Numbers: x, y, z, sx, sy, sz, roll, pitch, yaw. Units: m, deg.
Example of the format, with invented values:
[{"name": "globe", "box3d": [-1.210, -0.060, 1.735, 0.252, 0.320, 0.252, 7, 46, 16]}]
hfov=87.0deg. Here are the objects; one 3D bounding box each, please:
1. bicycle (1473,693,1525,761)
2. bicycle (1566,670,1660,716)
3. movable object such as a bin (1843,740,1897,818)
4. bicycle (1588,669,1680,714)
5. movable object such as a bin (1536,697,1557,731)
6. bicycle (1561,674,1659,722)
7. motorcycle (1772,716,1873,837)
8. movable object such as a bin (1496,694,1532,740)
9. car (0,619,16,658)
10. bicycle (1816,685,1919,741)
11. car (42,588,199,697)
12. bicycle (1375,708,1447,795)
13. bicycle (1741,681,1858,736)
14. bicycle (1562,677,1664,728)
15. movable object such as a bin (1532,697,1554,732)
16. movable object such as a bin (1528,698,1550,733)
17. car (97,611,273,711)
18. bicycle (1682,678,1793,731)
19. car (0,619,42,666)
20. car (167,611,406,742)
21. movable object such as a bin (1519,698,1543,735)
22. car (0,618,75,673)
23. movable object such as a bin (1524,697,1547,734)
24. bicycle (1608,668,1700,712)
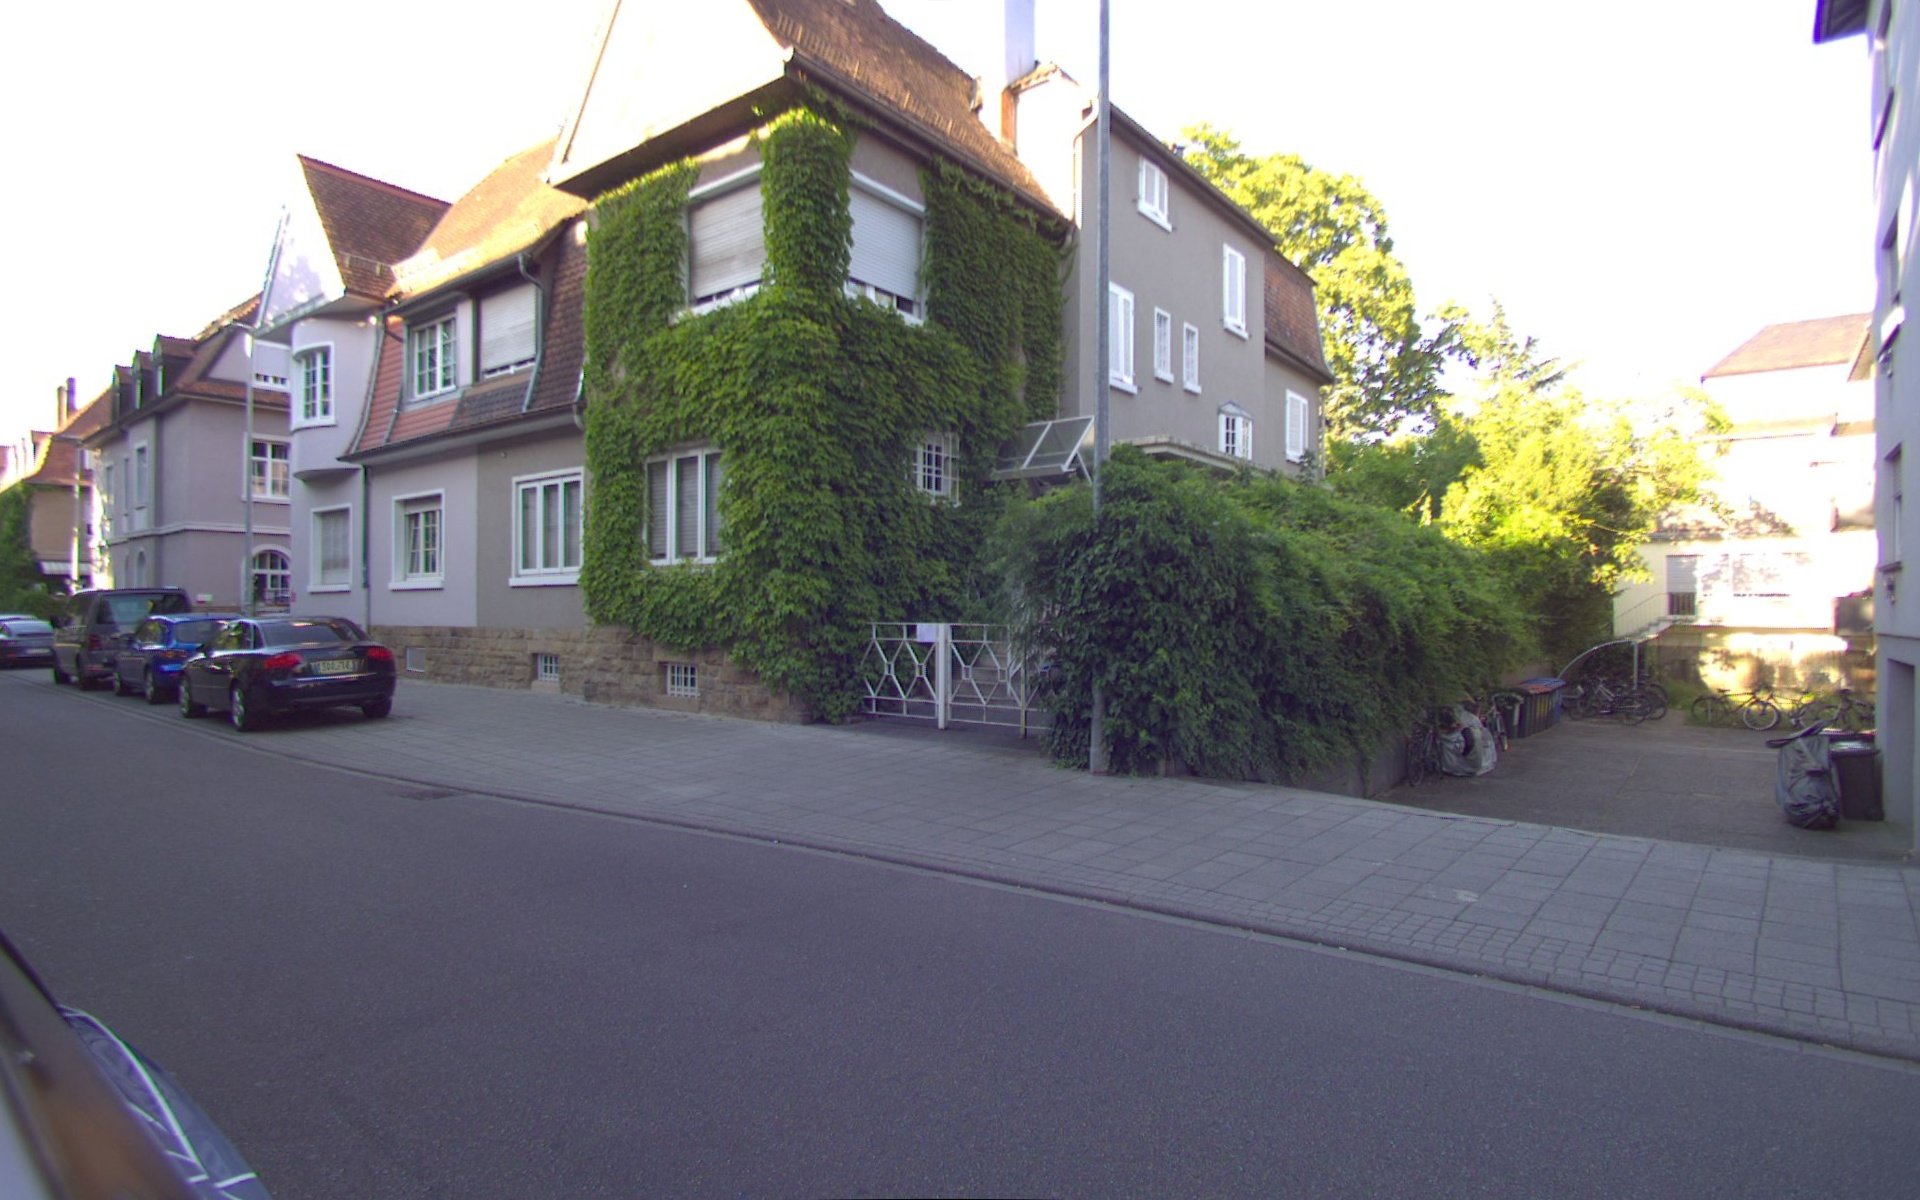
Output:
[{"name": "bicycle", "box3d": [9.962, 2.320, 18.674, 0.514, 1.027, 1.914, 1, 0, 38]}, {"name": "bicycle", "box3d": [17.704, 2.510, 27.474, 2.068, 1.028, 0.608, 1, 3, 41]}, {"name": "movable object such as a bin", "box3d": [11.766, 2.297, 13.100, 0.432, 0.894, 0.717, -1, -3, 37]}, {"name": "bicycle", "box3d": [18.581, 2.499, 27.933, 2.068, 1.028, 0.608, 1, 3, 41]}, {"name": "movable object such as a bin", "box3d": [13.541, 2.625, 23.357, 0.367, 0.764, 0.359, -1, -4, 41]}, {"name": "bicycle", "box3d": [16.844, 2.521, 26.272, 2.068, 1.028, 0.565, 1, 3, 41]}, {"name": "motorcycle", "box3d": [10.722, 2.151, 12.631, 0.757, 1.261, 1.575, -1, -3, 34]}, {"name": "movable object such as a bin", "box3d": [11.548, 2.426, 21.096, 0.576, 0.886, 0.488, 0, -3, 41]}, {"name": "car", "box3d": [-36.623, 1.445, 37.678, 3.942, 1.381, 1.698, -1, 1, 40]}, {"name": "bicycle", "box3d": [20.593, 2.528, 22.740, 2.068, 1.028, 0.634, 1, 3, 41]}, {"name": "car", "box3d": [-17.426, 0.788, 20.940, 4.308, 1.987, 1.698, 0, 2, 40]}, {"name": "bicycle", "box3d": [6.777, 2.230, 15.160, 0.514, 1.027, 1.914, 1, 0, 38]}, {"name": "bicycle", "box3d": [19.575, 2.508, 23.645, 2.068, 1.028, 0.634, 1, 3, 41]}, {"name": "bicycle", "box3d": [16.279, 2.529, 25.260, 2.068, 1.028, 0.634, 1, 3, 41]}, {"name": "movable object such as a bin", "box3d": [13.290, 2.612, 23.060, 0.367, 0.764, 0.359, -1, -4, 41]}, {"name": "movable object such as a bin", "box3d": [13.034, 2.594, 22.770, 0.375, 0.764, 0.359, -1, -4, 41]}, {"name": "car", "box3d": [-13.712, 0.982, 17.829, 4.021, 1.475, 1.591, 0, 2, 40]}, {"name": "bicycle", "box3d": [18.721, 2.497, 24.394, 2.068, 1.028, 0.634, 1, 3, 41]}, {"name": "car", "box3d": [-30.338, 1.334, 31.926, 3.942, 1.381, 1.522, -1, 0, 40]}, {"name": "car", "box3d": [-9.297, 0.920, 13.853, 4.023, 1.439, 1.729, 0, 2, 42]}, {"name": "movable object such as a bin", "box3d": [12.533, 2.542, 22.194, 0.398, 0.779, 0.359, -1, -4, 41]}, {"name": "car", "box3d": [-26.360, 1.230, 28.364, 4.331, 1.381, 1.698, -1, 1, 40]}, {"name": "movable object such as a bin", "box3d": [12.788, 2.563, 22.480, 0.381, 0.779, 0.359, -1, -4, 41]}, {"name": "bicycle", "box3d": [19.359, 2.489, 28.257, 2.068, 1.028, 0.561, 1, 3, 41]}]
